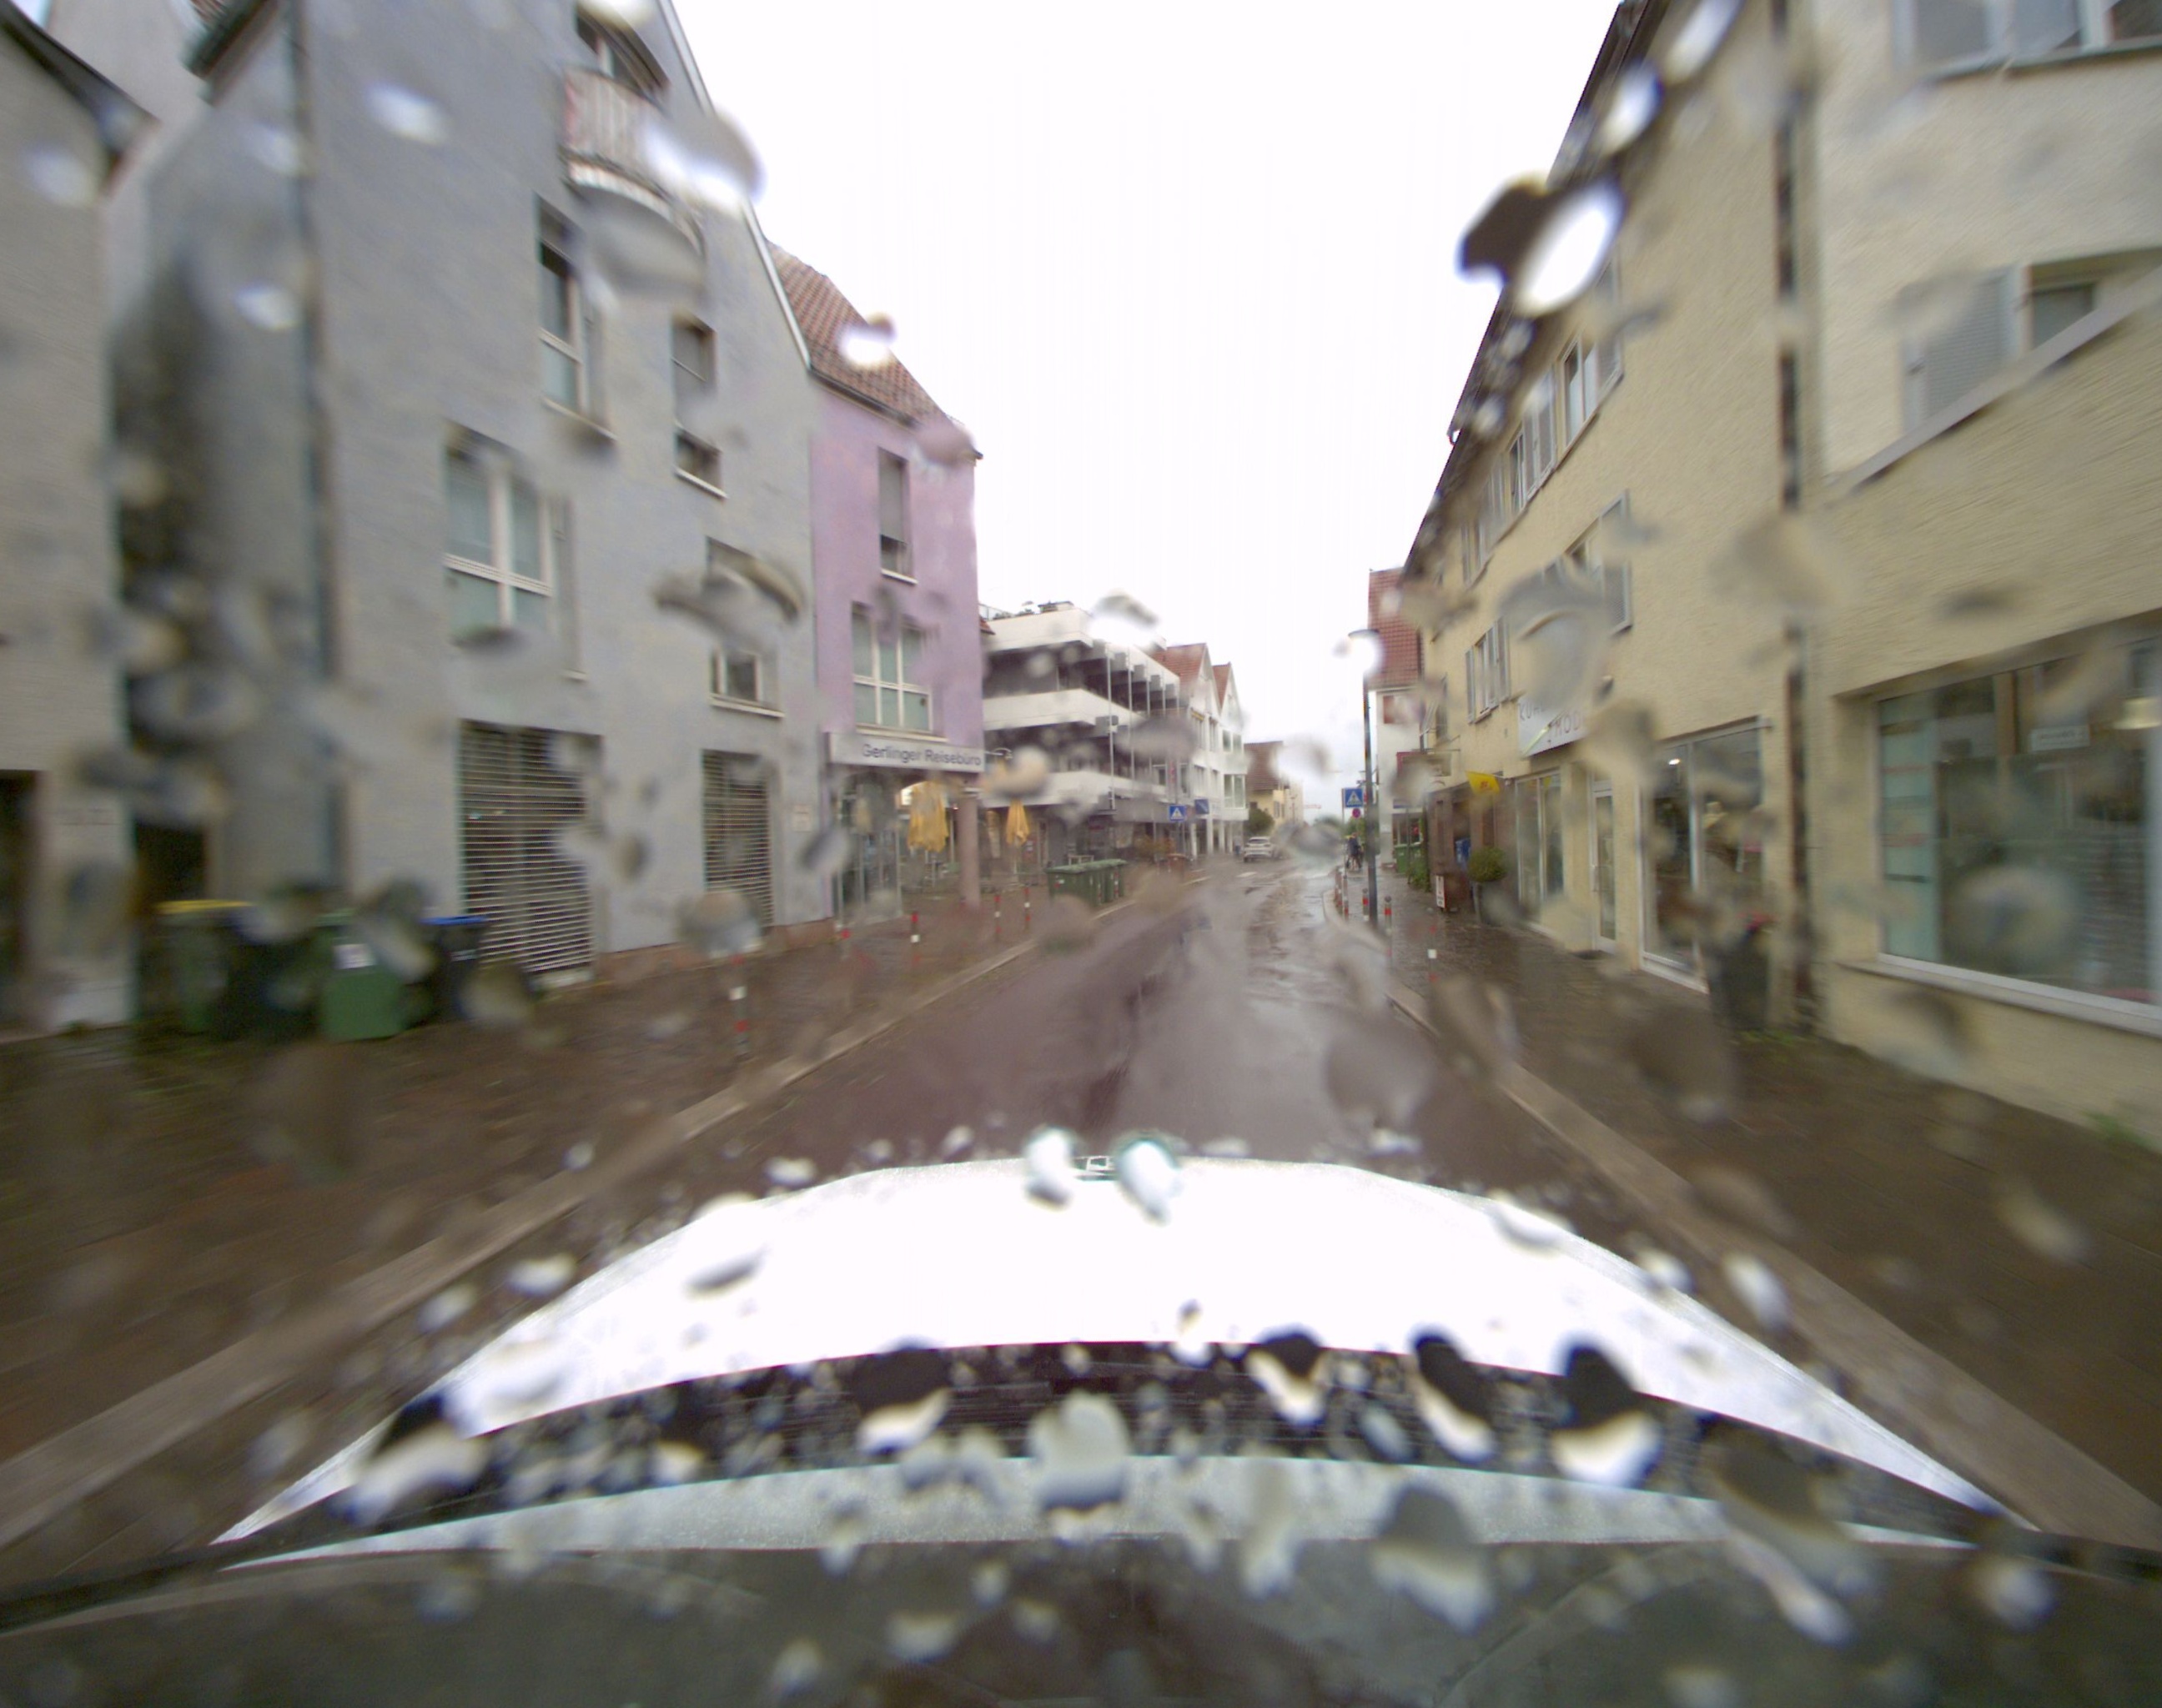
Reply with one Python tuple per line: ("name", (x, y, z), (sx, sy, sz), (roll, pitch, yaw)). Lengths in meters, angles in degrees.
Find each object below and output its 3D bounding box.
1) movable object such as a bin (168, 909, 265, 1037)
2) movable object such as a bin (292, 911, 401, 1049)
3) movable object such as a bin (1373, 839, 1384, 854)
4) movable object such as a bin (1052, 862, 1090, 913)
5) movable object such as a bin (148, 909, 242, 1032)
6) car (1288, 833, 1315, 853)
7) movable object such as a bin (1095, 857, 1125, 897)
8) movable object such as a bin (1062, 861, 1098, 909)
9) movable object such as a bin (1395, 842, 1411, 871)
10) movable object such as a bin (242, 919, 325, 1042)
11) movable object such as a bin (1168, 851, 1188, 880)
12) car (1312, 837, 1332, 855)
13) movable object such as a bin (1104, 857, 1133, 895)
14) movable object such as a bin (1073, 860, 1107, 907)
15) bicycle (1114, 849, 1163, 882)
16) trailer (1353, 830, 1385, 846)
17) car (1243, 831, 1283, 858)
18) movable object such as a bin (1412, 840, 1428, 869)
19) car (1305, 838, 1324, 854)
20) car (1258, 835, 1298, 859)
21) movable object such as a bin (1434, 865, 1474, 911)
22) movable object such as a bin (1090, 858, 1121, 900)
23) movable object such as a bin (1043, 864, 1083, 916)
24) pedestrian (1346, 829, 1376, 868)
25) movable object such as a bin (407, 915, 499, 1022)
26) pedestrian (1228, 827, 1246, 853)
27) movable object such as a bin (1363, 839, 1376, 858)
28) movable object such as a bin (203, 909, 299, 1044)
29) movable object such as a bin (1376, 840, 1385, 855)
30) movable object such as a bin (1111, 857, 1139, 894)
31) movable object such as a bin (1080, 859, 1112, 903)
("movable object such as a bin", (-7.481, 1.003, 7.052), (0.469, 1.028, 0.476), (-2, -1, 30))
("movable object such as a bin", (-5.816, 0.969, 6.479), (0.575, 0.989, 0.483), (0, -1, -33))
("movable object such as a bin", (23.280, -0.611, 63.743), (0.797, 1.131, 0.867), (-1, -1, 20))
("movable object such as a bin", (-0.215, 0.748, 18.213), (0.681, 1.087, 0.715), (-1, 1, 13))
("movable object such as a bin", (-7.953, 1.022, 7.314), (0.469, 1.028, 0.476), (-2, -1, 30))
("car", (18.363, -0.864, 67.788), (1.765, 1.569, 4.430), (-1, -1, 20))
("movable object such as a bin", (0.817, 0.634, 22.467), (0.681, 1.076, 0.672), (-1, 1, 13))
("movable object such as a bin", (-0.012, 0.730, 19.111), (0.681, 1.081, 0.672), (-1, 1, 13))
("movable object such as a bin", (12.133, 0.088, 30.695), (0.496, 1.056, 0.551), (-4, -2, 21))
("movable object such as a bin", (-6.448, 1.001, 6.589), (0.431, 0.915, 0.389), (-2, -1, 32))
("movable object such as a bin", (3.528, 0.414, 29.564), (0.683, 1.020, 0.633), (-1, 1, 4))
("car", (25.408, -0.837, 85.851), (1.709, 1.825, 4.450), (-1, -1, 19))
("movable object such as a bin", (1.076, 0.621, 23.314), (0.681, 1.042, 0.672), (-1, 1, 13))
("movable object such as a bin", (0.228, 0.724, 20.196), (0.681, 1.105, 0.672), (-1, 1, 13))
("bicycle", (2.095, 0.408, 29.581), (1.739, 1.164, 0.444), (-1, -1, 2))
("trailer", (55.656, -3.100, 157.522), (5.736, 2.947, 2.009), (-1, -1, 16))
("car", (11.301, -0.541, 50.327), (1.776, 1.551, 4.021), (-1, -1, 21))
("movable object such as a bin", (12.680, 0.033, 30.486), (0.496, 1.056, 0.551), (-4, -2, 21))
("car", (23.076, -0.768, 80.372), (1.667, 1.389, 3.843), (-1, -1, 18))
("car", (13.602, -0.483, 56.014), (1.814, 1.498, 4.790), (-2, 0, 23))
("movable object such as a bin", (7.414, 0.661, 16.215), (0.542, 0.836, 0.914), (-4, 0, 16))
("movable object such as a bin", (0.664, 0.656, 21.598), (0.681, 1.073, 0.672), (-1, 1, 13))
("movable object such as a bin", (-0.384, 0.763, 17.480), (0.681, 1.078, 0.679), (-1, 1, 13))
("pedestrian", (12.795, -0.267, 37.223), (1.168, 1.697, 1.183), (-3, 0, 19))
("movable object such as a bin", (-5.619, 1.009, 7.299), (0.457, 0.895, 0.451), (-1, -1, 10))
("pedestrian", (11.019, -0.979, 57.631), (1.026, 1.806, 1.122), (-1, 1, 22))
("movable object such as a bin", (17.392, -0.343, 49.037), (0.670, 1.086, 0.722), (-1, 0, 23))
("movable object such as a bin", (-6.898, 0.992, 6.774), (0.469, 1.028, 0.476), (-2, -1, 33))
("movable object such as a bin", (26.391, -0.562, 71.807), (0.632, 1.290, 0.636), (-2, -1, 27))
("movable object such as a bin", (1.306, 0.621, 23.996), (0.681, 1.039, 0.672), (-1, 1, 13))
("movable object such as a bin", (0.388, 0.688, 20.907), (0.681, 1.105, 0.672), (-1, 1, 13))
